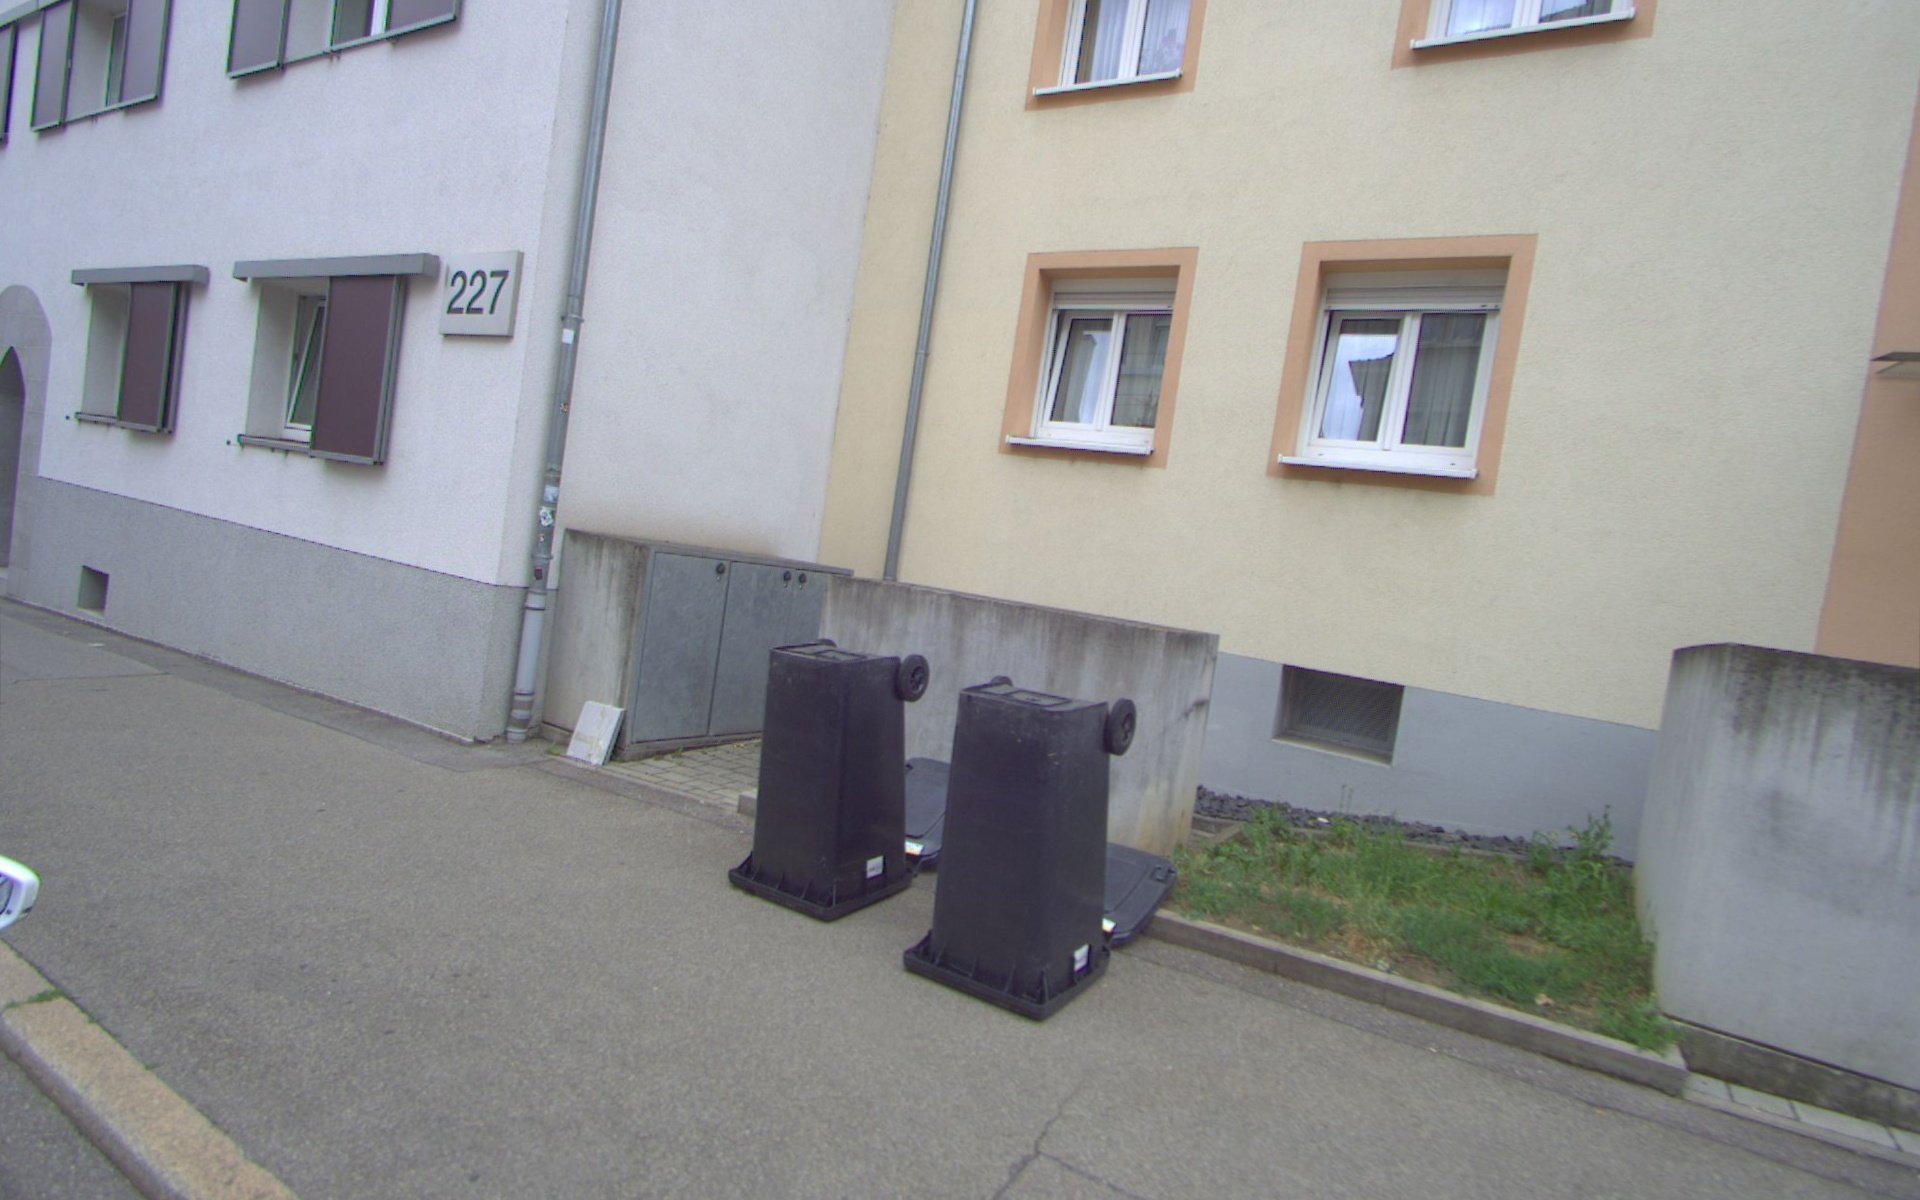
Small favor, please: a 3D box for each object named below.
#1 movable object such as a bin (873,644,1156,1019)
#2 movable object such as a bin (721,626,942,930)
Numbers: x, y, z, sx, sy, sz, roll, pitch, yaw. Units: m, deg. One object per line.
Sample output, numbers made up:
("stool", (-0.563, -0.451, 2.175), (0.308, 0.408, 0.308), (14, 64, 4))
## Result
("movable object such as a bin", (0.199, 0.750, 3.564), (0.680, 1.094, 0.589), (8, 2, 33))
("movable object such as a bin", (-0.525, 0.697, 4.191), (0.533, 1.094, 0.611), (8, 2, 33))
